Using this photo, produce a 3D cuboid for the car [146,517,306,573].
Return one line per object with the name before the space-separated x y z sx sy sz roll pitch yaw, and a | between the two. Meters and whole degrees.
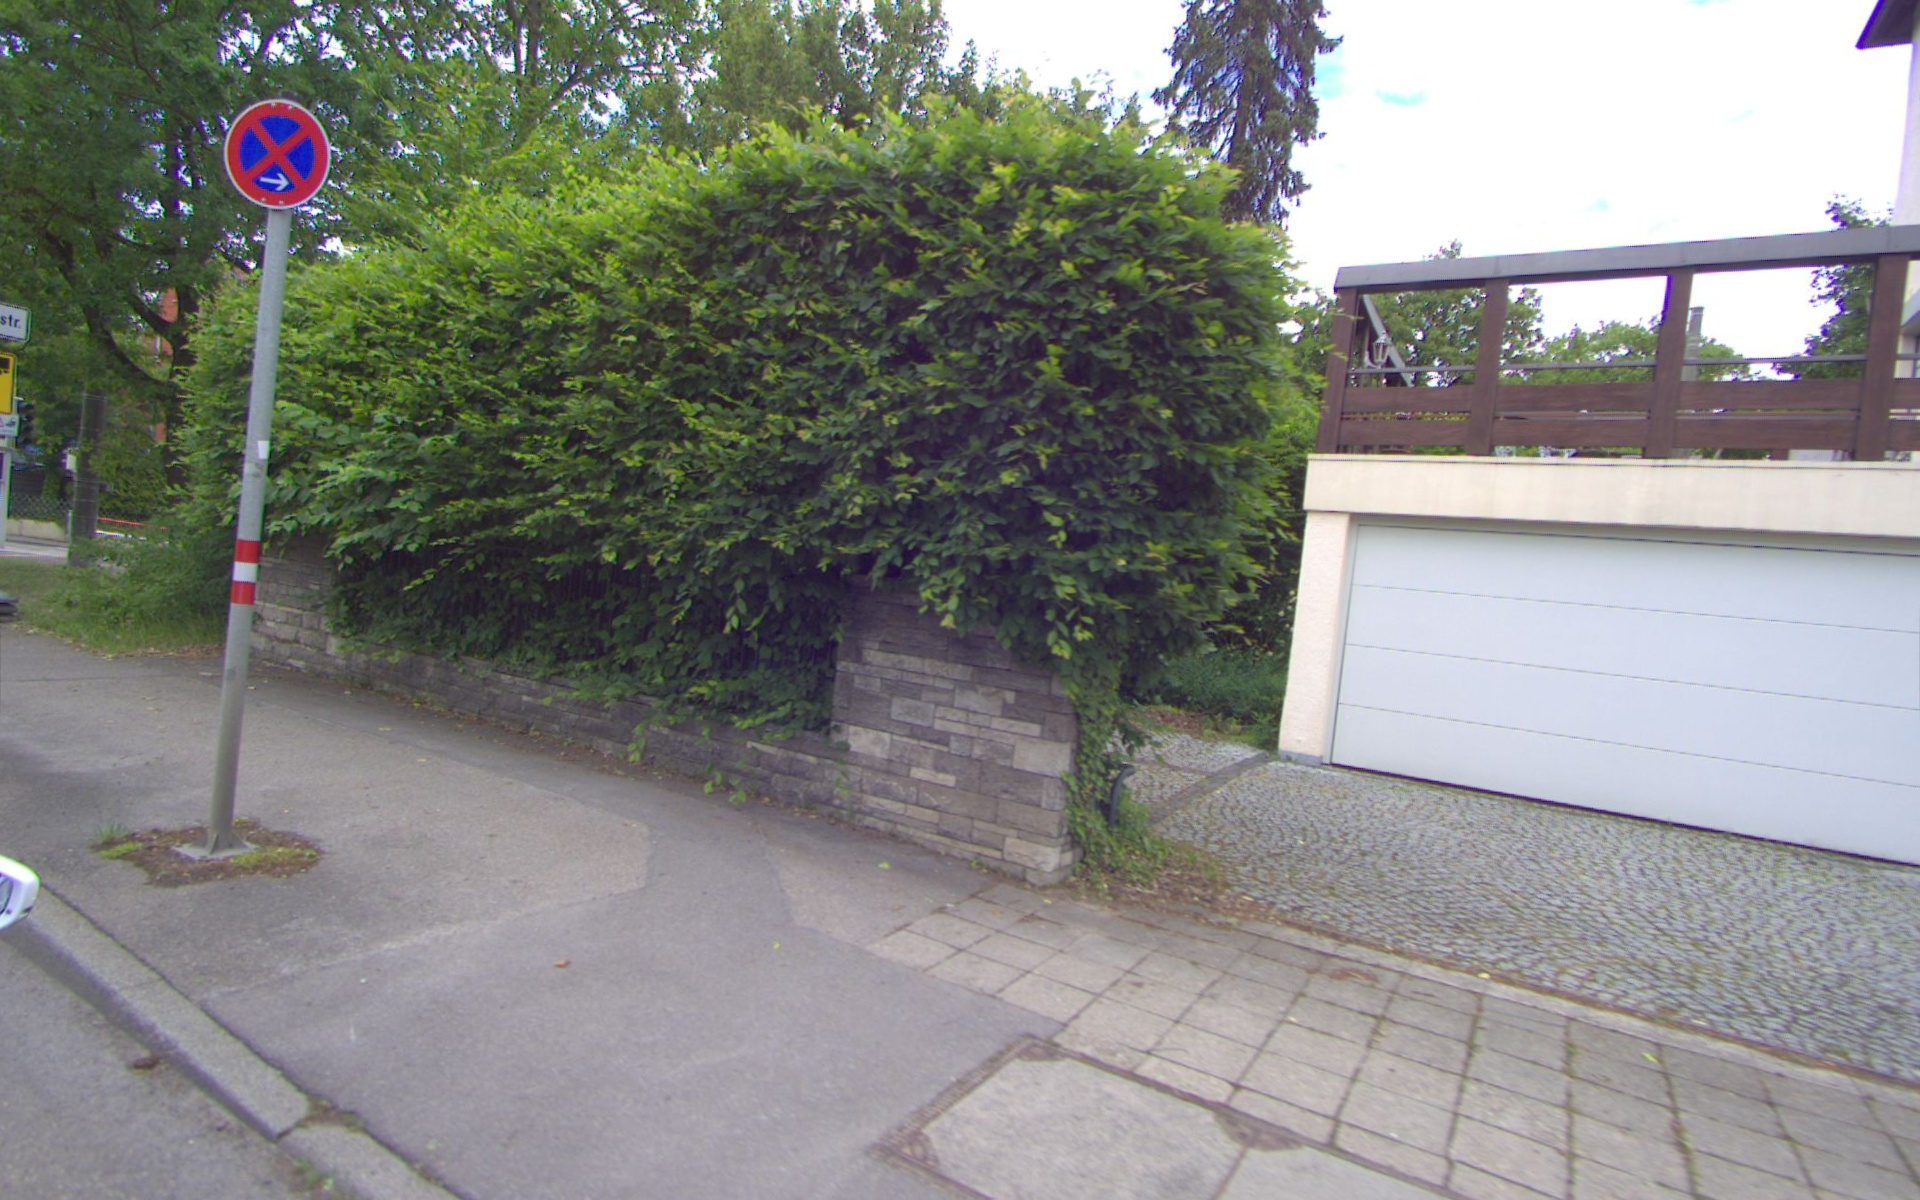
car | -27.873 -2.047 38.389 1.963 1.481 4.519 7 -1 21
